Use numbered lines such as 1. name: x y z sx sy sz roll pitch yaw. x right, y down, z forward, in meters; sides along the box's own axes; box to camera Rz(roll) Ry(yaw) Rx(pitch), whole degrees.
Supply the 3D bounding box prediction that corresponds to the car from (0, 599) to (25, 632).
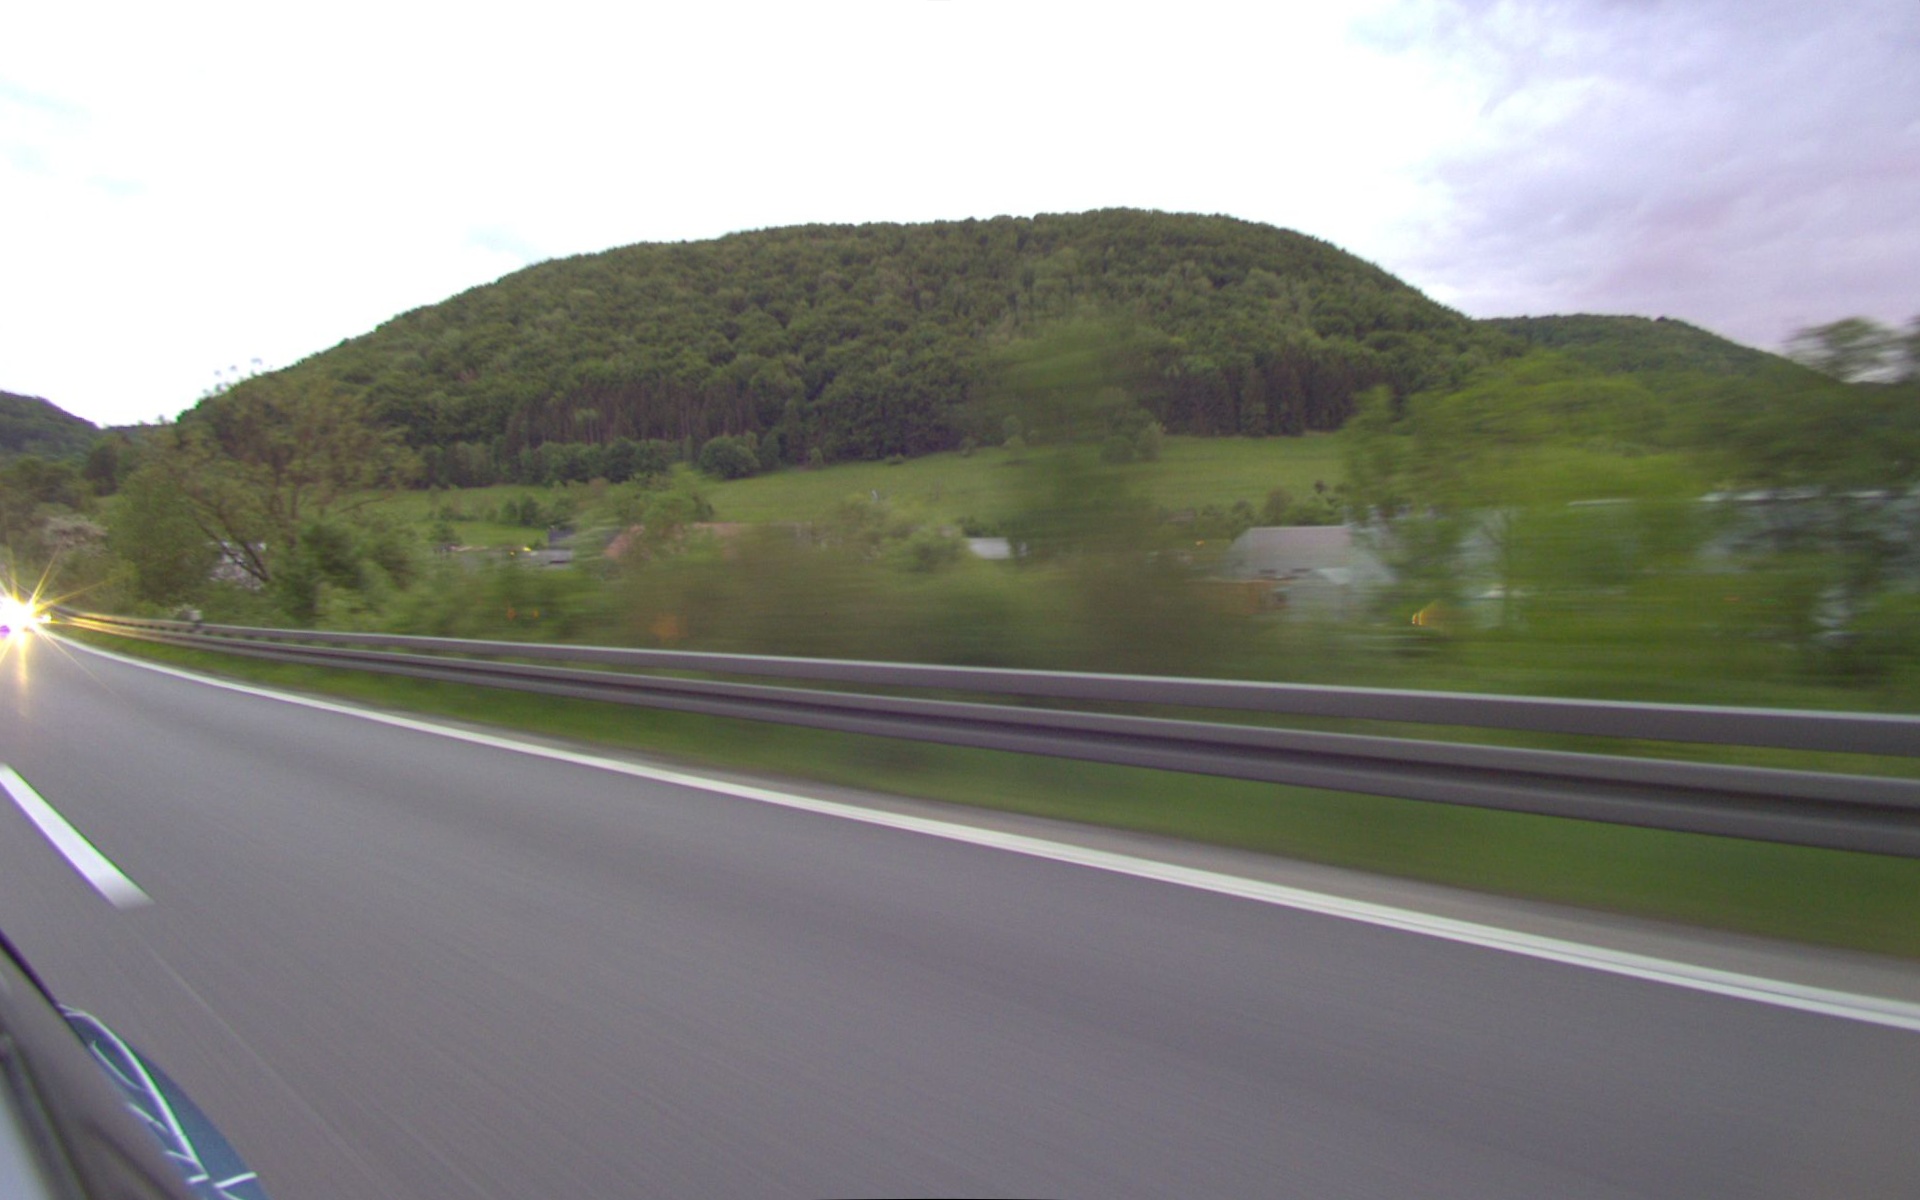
1. car: -44.150 0.740 46.355 3.768 1.479 1.667 -1 0 43
